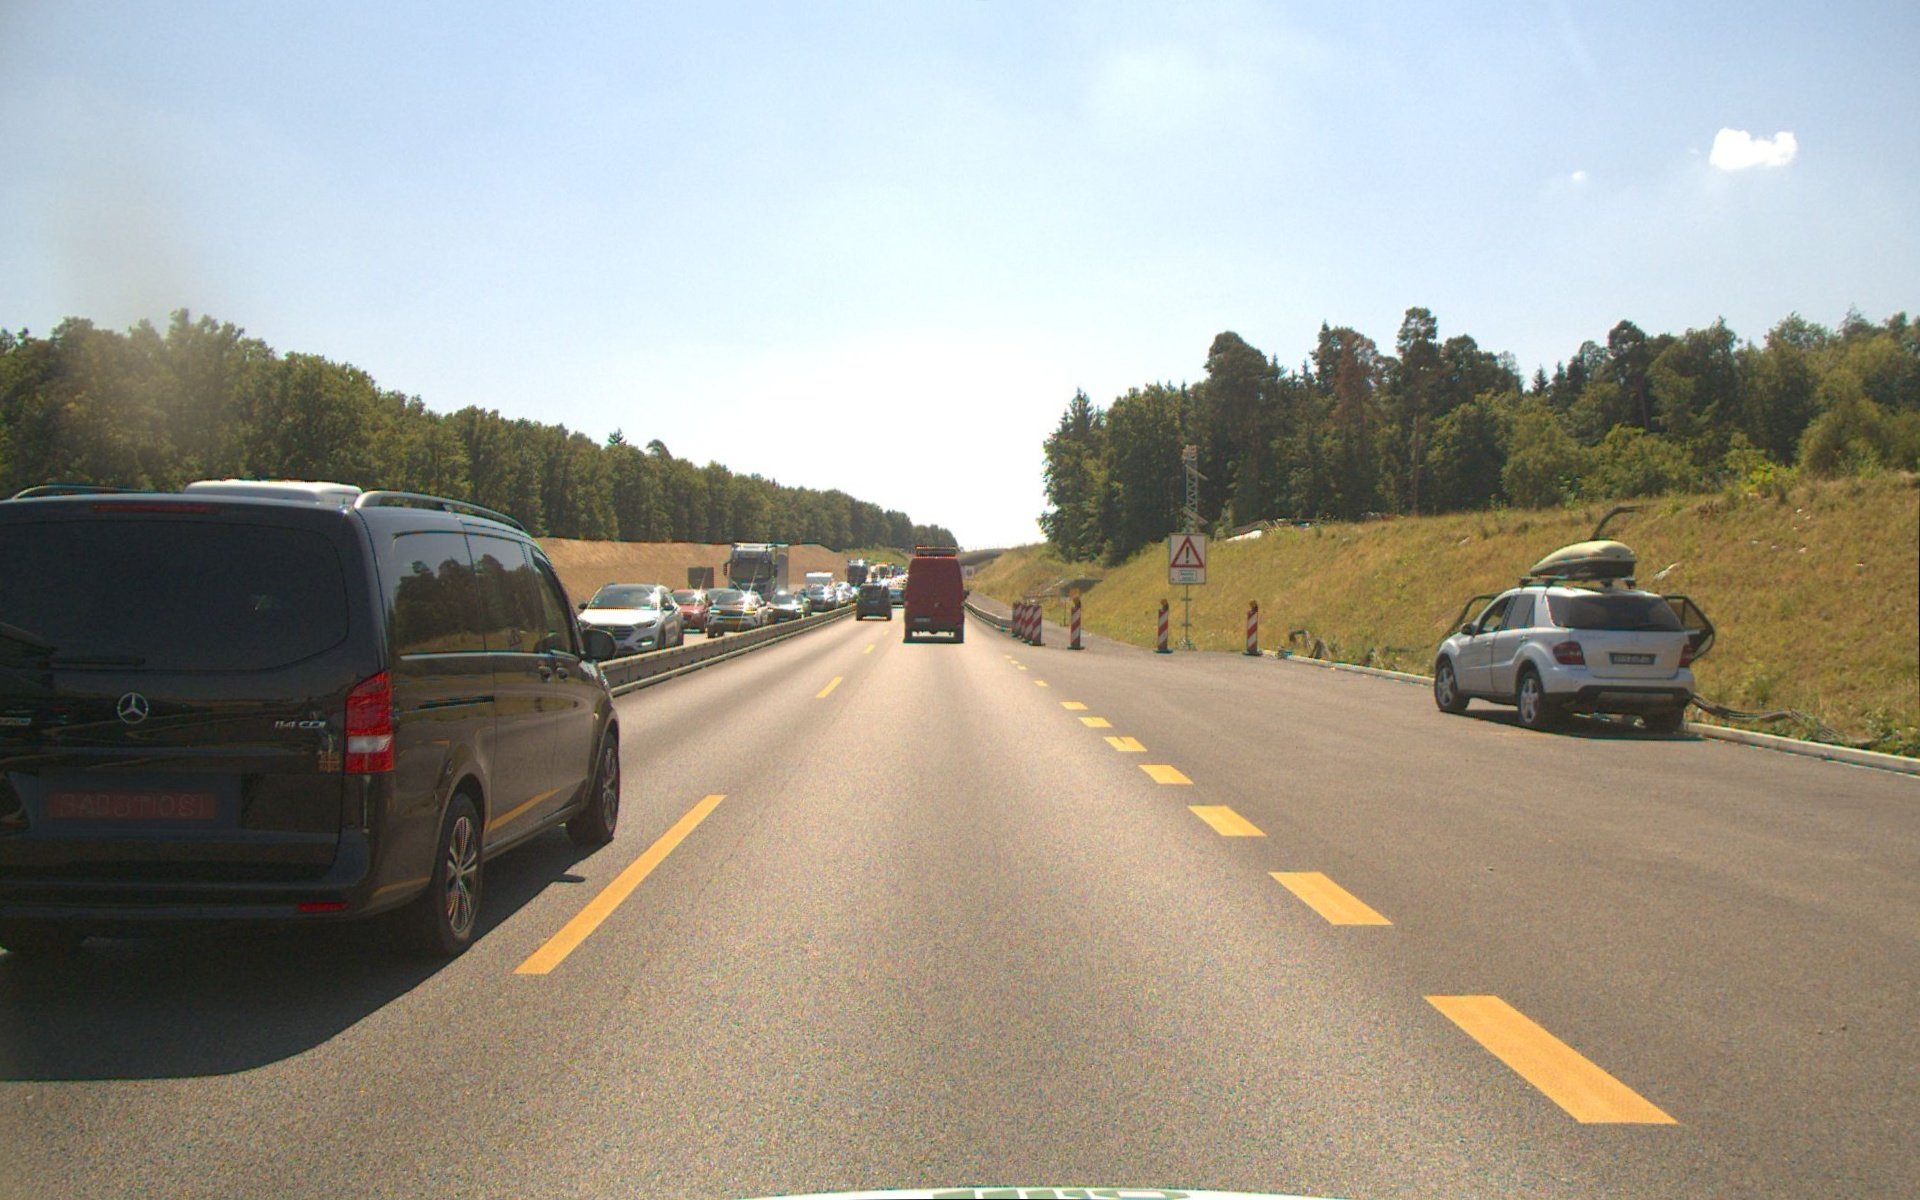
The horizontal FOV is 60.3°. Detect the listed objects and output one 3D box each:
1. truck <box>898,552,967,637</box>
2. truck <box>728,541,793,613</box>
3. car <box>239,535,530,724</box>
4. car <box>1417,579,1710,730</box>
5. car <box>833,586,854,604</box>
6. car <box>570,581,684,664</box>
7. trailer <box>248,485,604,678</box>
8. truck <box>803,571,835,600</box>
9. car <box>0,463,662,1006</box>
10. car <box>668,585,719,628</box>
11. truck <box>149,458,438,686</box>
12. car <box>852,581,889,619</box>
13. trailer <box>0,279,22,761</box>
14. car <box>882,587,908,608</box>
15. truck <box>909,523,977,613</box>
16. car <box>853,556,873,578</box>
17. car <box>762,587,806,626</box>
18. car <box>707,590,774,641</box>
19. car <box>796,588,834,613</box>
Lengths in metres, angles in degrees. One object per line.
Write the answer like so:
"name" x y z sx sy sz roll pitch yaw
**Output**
"truck" -0.910 -0.138 54.680 2.109 2.635 5.332 1 -1 -1
"truck" -11.135 -1.194 93.115 2.457 3.680 9.639 1 -1 0
"car" -6.762 0.356 20.102 1.788 1.960 5.261 1 -1 -2
"car" 7.748 0.614 21.807 1.739 1.706 4.851 2 1 -5
"car" -9.397 -0.378 133.535 1.434 1.351 3.371 1 -1 0
"car" -7.084 0.490 35.570 1.690 1.659 4.389 1 -1 -2
"trailer" -10.022 -0.246 33.606 2.299 2.983 15.268 1 0 0
"truck" -12.539 -1.236 147.556 2.351 2.399 5.226 1 -1 0
"car" -2.927 0.484 8.552 1.836 1.883 5.477 1 0 -1
"car" -9.584 0.242 59.608 1.349 1.488 3.151 1 -1 -1
"truck" -10.045 -0.347 25.480 2.350 3.112 5.061 1 -1 0
"car" -4.614 -0.004 85.818 1.716 1.856 4.781 1 0 -1
"trailer" -9.478 -0.693 7.589 2.734 4.146 13.707 1 0 -1
"car" -4.903 -0.170 125.266 1.794 1.549 3.960 1 -1 -1
"truck" -1.247 -1.984 115.382 4.311 5.592 16.598 1 -1 -1
"car" -12.386 -4.252 211.033 2.337 2.625 3.998 1 -1 -2
"car" -7.836 0.308 73.706 1.649 1.624 3.223 1 -1 -1
"car" -7.227 0.526 54.805 1.591 1.584 4.068 1 -1 1
"car" -8.288 0.033 94.764 1.803 1.351 3.941 1 -1 0
